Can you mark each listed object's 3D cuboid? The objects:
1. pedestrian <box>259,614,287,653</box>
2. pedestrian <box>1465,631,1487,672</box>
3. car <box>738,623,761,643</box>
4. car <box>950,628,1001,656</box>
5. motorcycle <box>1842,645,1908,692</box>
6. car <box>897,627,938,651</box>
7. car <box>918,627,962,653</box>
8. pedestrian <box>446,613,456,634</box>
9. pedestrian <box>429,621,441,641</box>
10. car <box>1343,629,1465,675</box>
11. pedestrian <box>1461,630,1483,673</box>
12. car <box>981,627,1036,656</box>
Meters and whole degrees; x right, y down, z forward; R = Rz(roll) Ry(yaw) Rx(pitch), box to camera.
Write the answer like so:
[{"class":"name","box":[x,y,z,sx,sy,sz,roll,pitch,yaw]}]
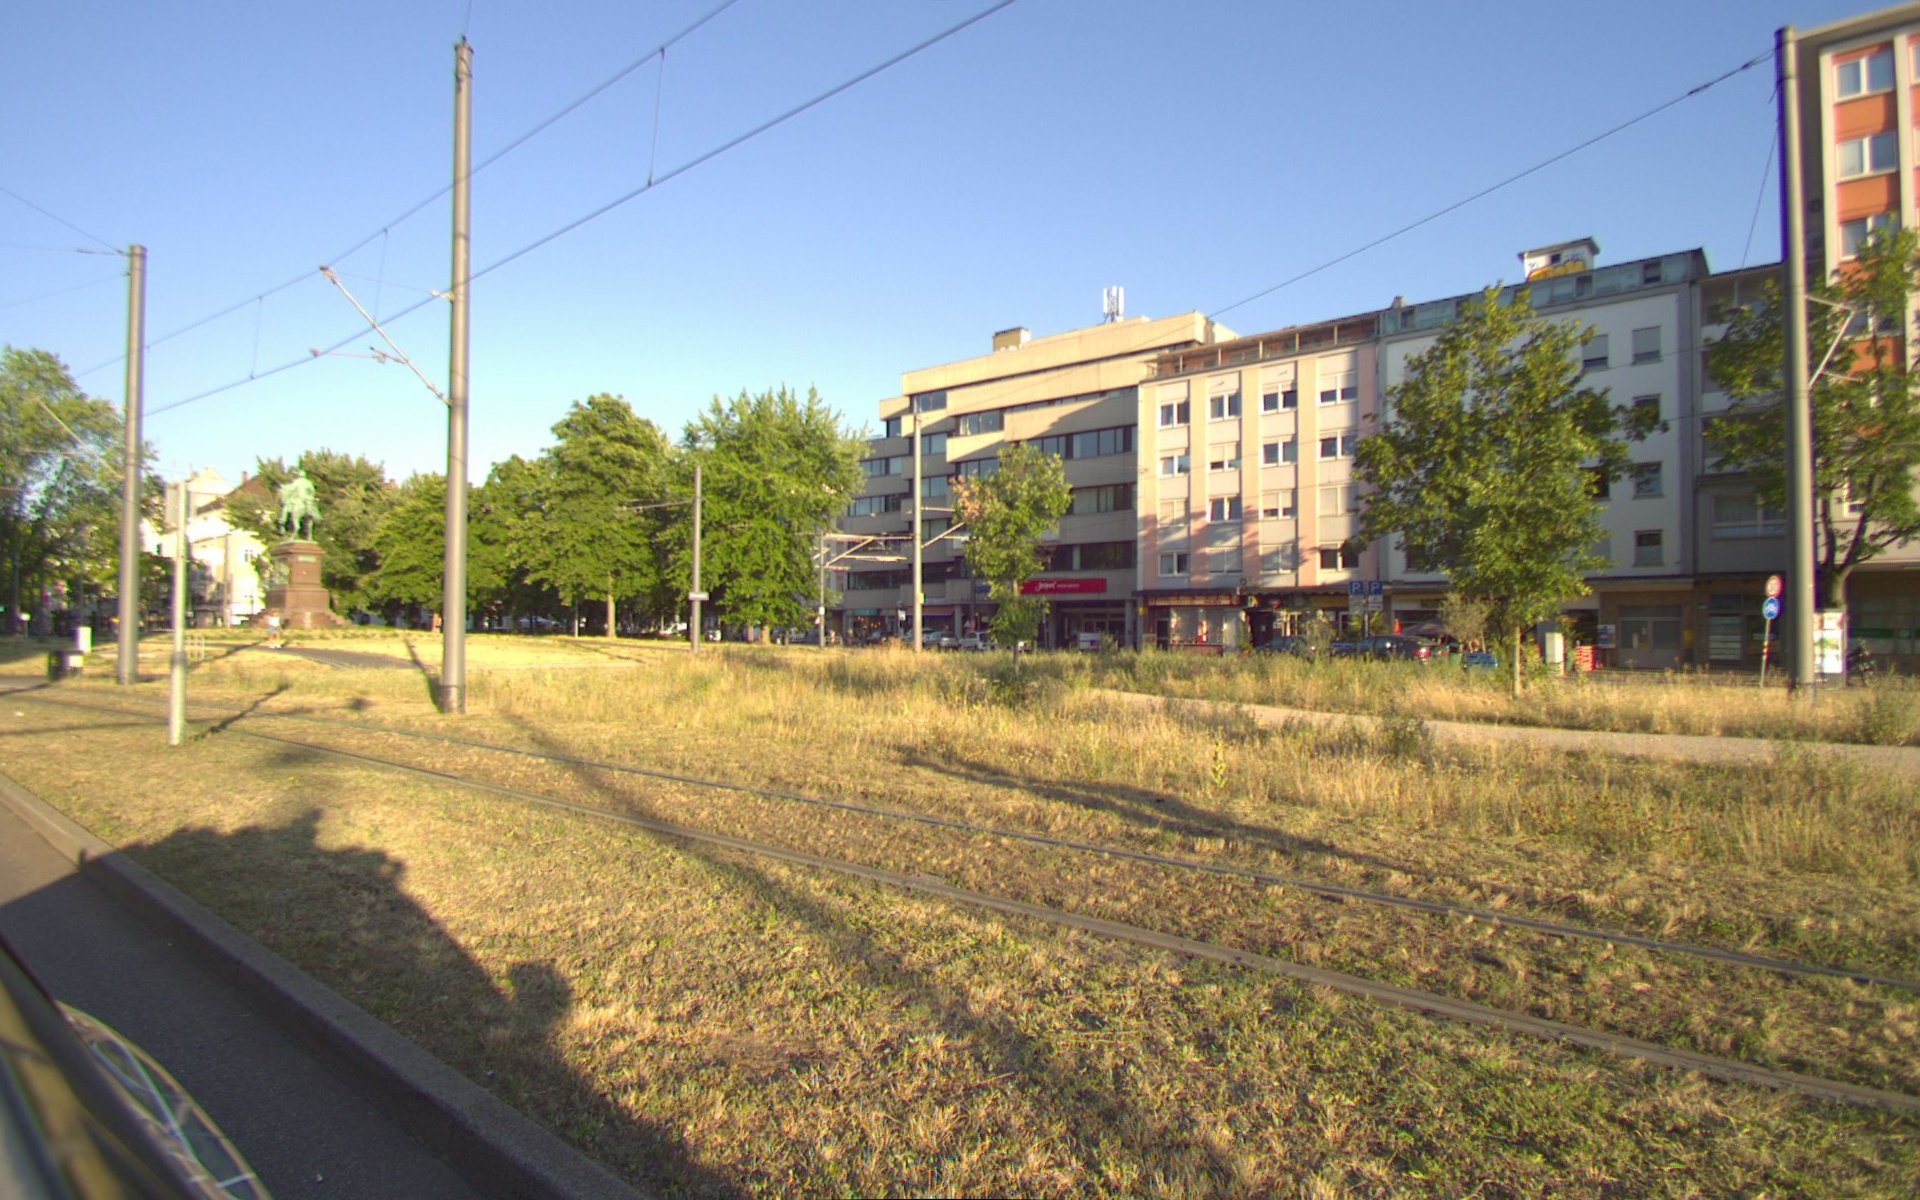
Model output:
[{"class":"pedestrian","box":[-31.110,1.533,45.841,0.797,1.741,0.880,-2,-2,41]},{"class":"pedestrian","box":[22.477,2.214,44.093,0.698,1.764,0.642,-2,-2,41]},{"class":"car","box":[-23.554,3.665,113.201,1.966,2.029,4.012,-1,0,-18]},{"class":"car","box":[1.074,2.942,71.571,1.965,1.893,4.013,1,-2,-27]},{"class":"motorcycle","box":[26.581,1.982,29.422,1.390,1.328,0.376,-2,-2,43]},{"class":"car","box":[-3.464,3.130,81.988,1.965,1.951,4.013,1,-2,-25]},{"class":"car","box":[-1.532,3.010,77.067,1.965,1.893,4.013,1,-2,-23]},{"class":"pedestrian","box":[-42.403,1.951,84.287,0.512,1.707,0.528,-1,-2,41]},{"class":"pedestrian","box":[-43.450,2.542,83.801,0.635,1.682,0.702,-1,-2,41]},{"class":"car","box":[17.261,1.967,39.523,1.965,1.697,4.012,1,-2,-28]},{"class":"pedestrian","box":[22.028,2.211,43.581,0.704,1.806,0.587,-2,-2,41]},{"class":"car","box":[3.193,2.714,66.920,1.892,1.878,4.013,1,-2,-27]}]
